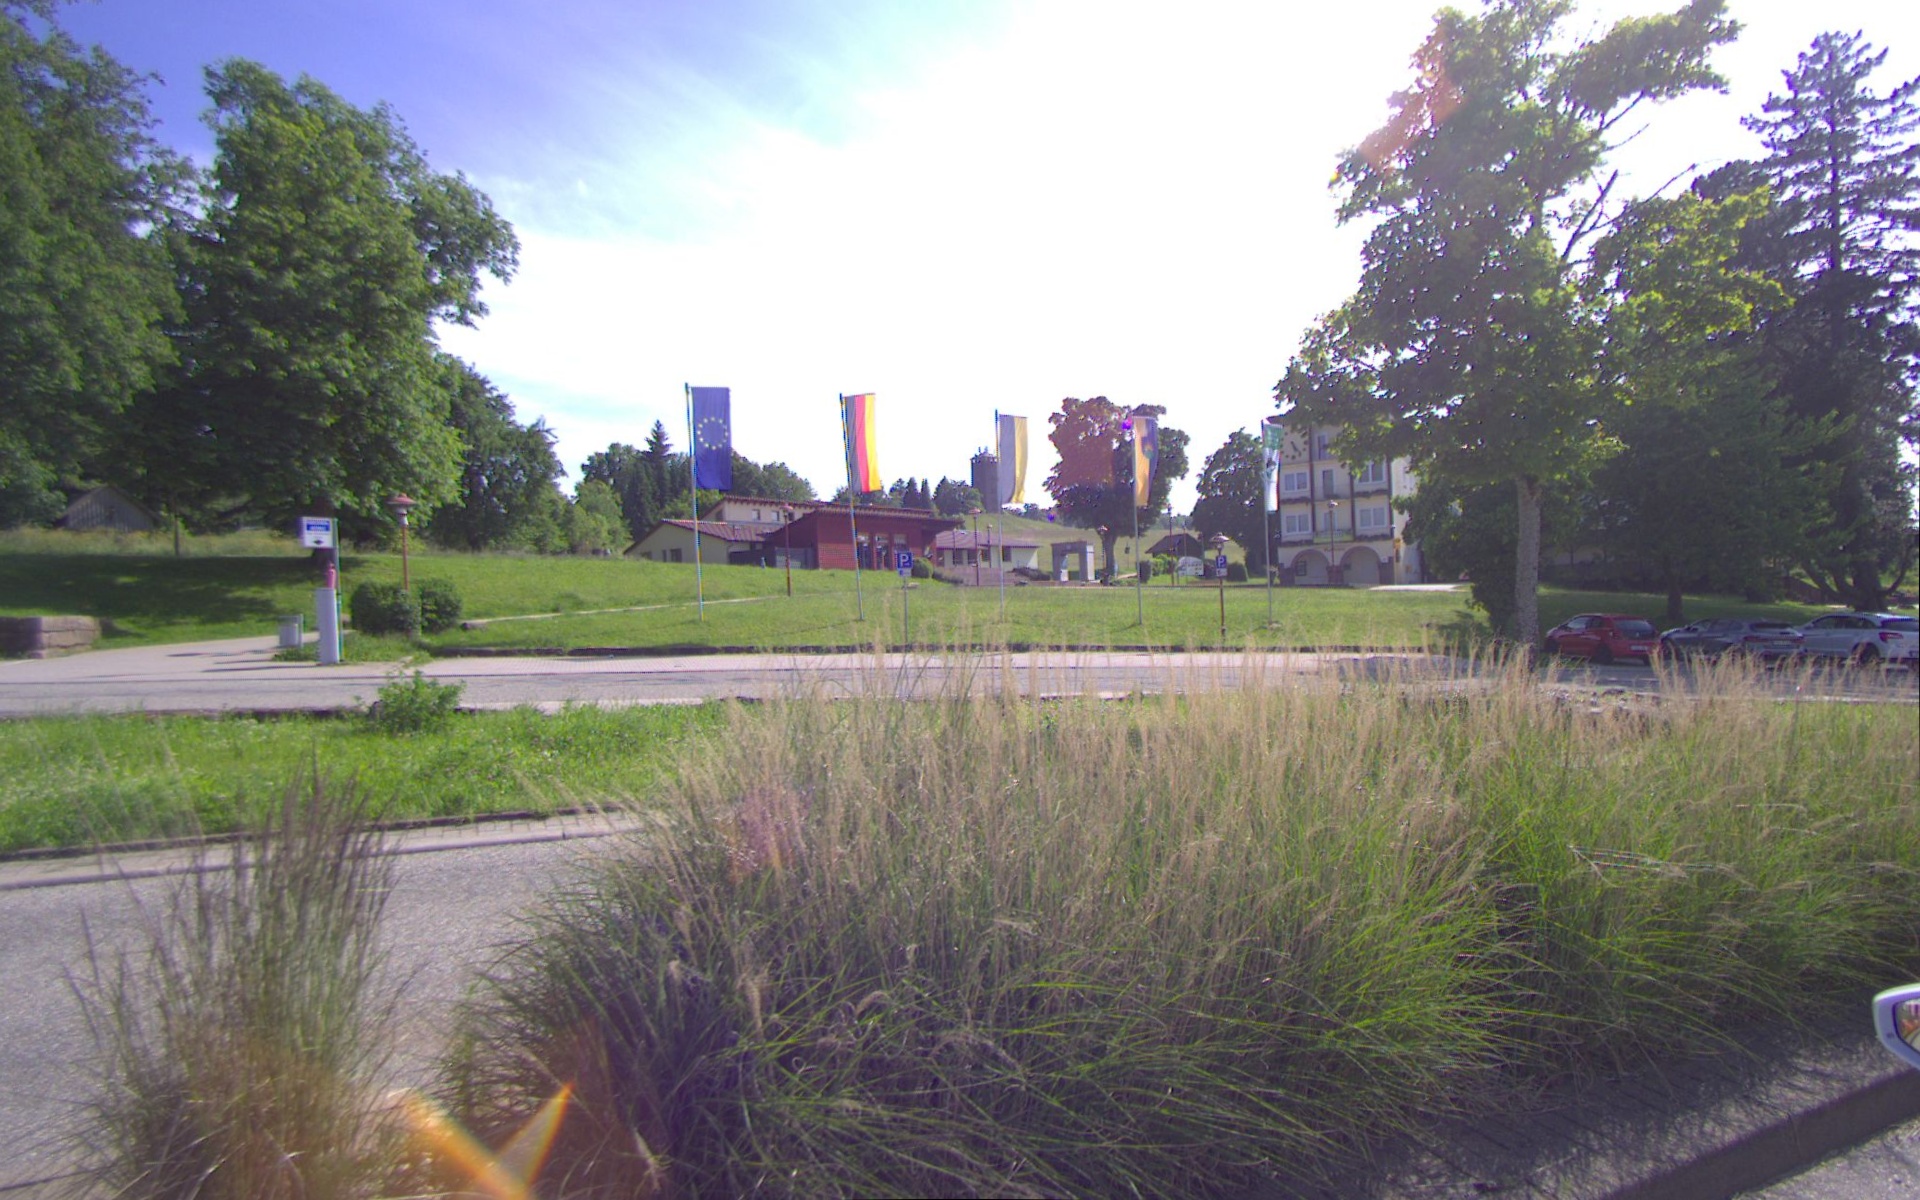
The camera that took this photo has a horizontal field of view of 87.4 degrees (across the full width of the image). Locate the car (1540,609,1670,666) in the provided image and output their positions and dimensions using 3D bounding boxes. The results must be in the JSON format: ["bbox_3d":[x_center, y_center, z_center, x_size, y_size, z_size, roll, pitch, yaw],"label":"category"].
[{"bbox_3d":[19.505,1.094,30.520,1.742,1.490,3.206,1,1,-3],"label":"car"}]

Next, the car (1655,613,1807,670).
[{"bbox_3d":[22.865,1.182,29.962,1.741,1.453,3.714,1,1,3],"label":"car"}]

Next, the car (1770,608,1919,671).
[{"bbox_3d":[26.870,1.131,30.192,1.742,1.631,3.940,1,1,-2],"label":"car"}]
